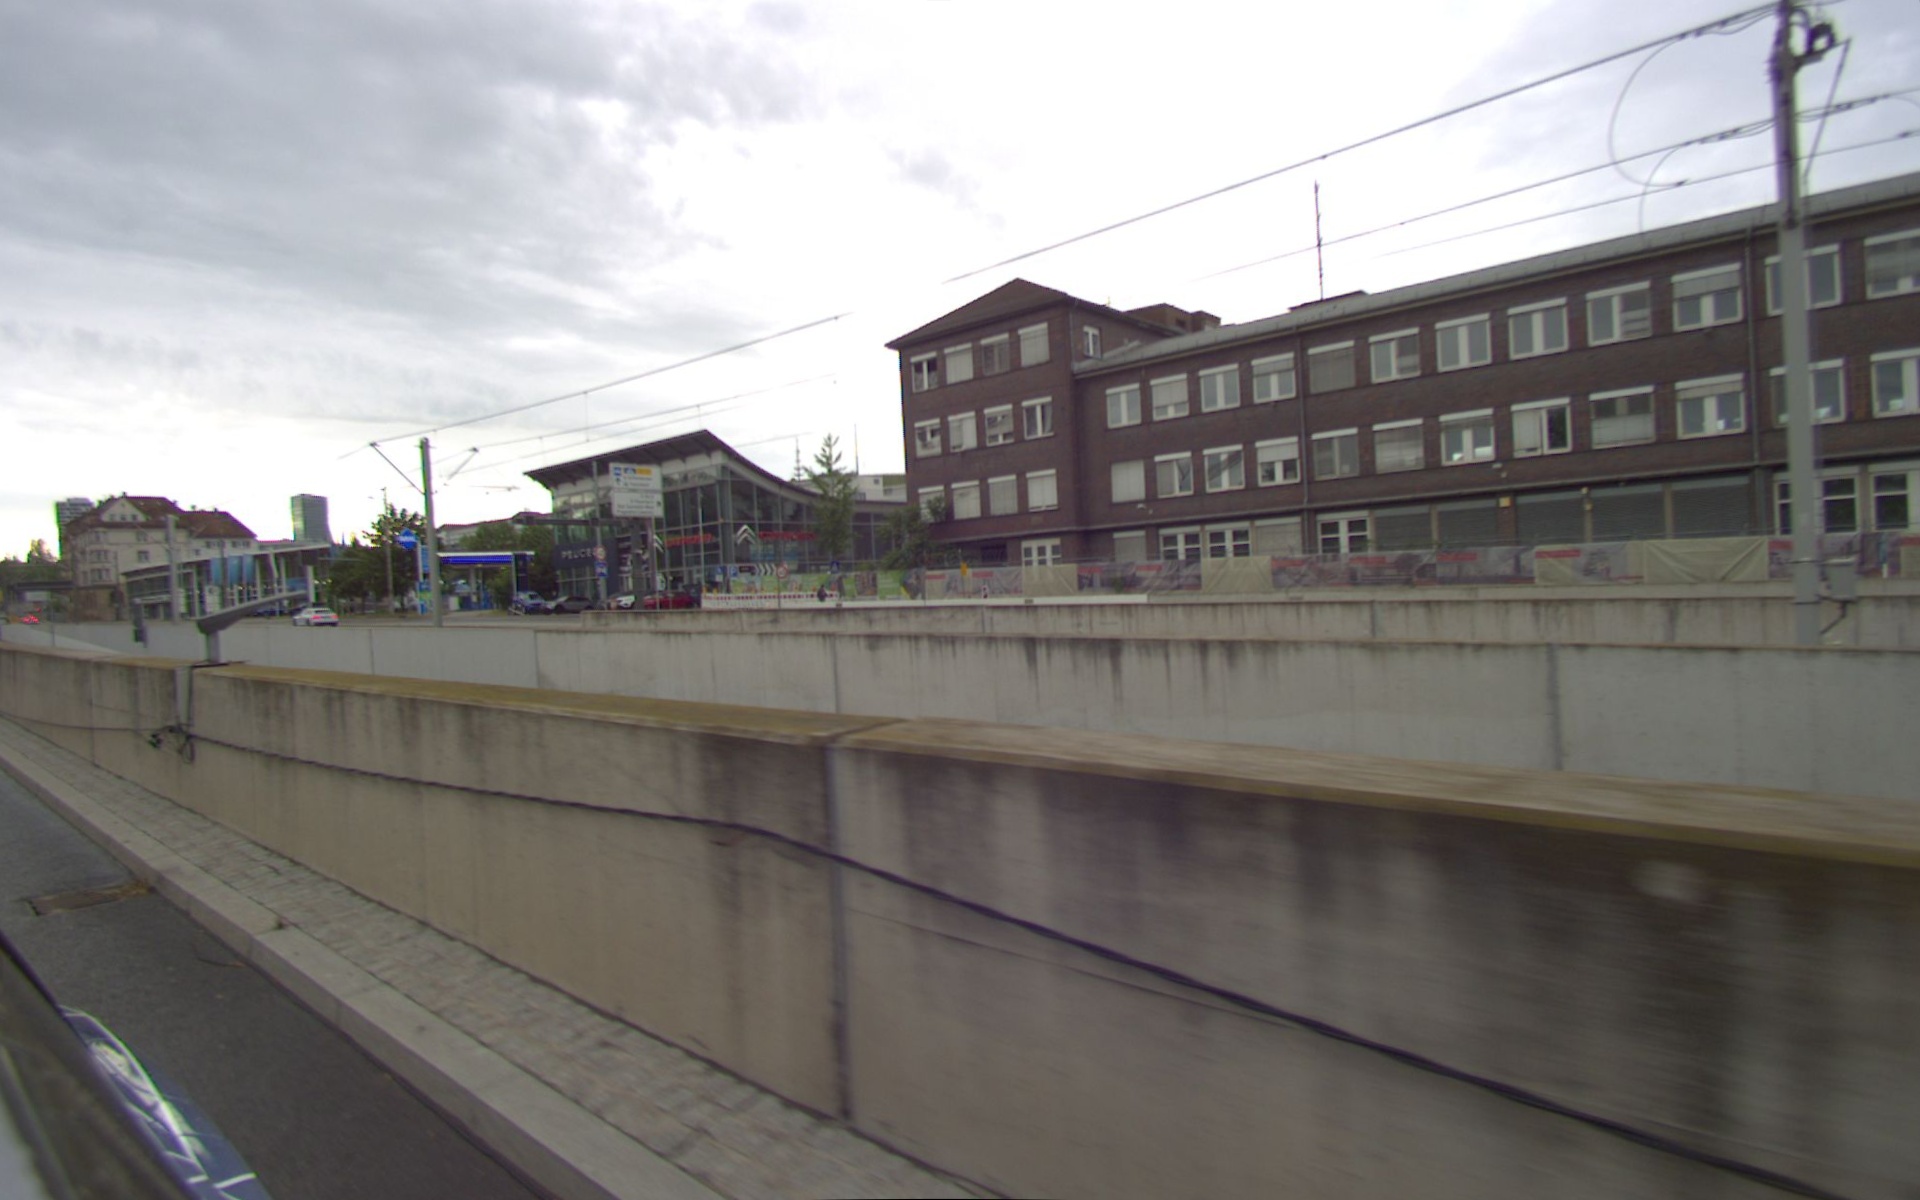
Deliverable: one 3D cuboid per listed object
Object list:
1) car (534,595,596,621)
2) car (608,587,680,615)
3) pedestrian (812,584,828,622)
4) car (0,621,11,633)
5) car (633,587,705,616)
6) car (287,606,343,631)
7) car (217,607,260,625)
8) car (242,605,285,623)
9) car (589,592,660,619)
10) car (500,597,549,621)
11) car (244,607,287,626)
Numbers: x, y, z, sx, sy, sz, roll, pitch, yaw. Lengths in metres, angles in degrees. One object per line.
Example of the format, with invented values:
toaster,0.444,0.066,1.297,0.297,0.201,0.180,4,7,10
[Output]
car,-30.706,0.610,78.767,1.999,1.785,3.946,-2,1,40
car,-22.548,0.055,72.331,1.998,1.773,4.519,-2,1,40
pedestrian,-7.545,0.145,54.522,0.720,2.029,0.580,-1,0,4
car,-162.028,4.598,170.858,3.997,2.029,2.242,-2,1,40
car,-20.403,0.093,71.116,1.998,1.773,4.519,-2,1,40
car,-48.040,1.397,75.362,4.574,1.728,2.093,-2,1,39
car,-89.452,1.988,125.469,1.999,2.028,3.945,-2,1,42
car,-86.040,1.703,125.002,1.999,2.028,3.945,-2,1,42
car,-24.508,0.401,73.960,1.998,1.773,4.519,-2,1,40
car,-34.938,0.726,81.150,3.996,1.785,1.974,-2,1,39
car,-84.508,1.977,123.144,1.999,2.028,3.945,-2,1,42
